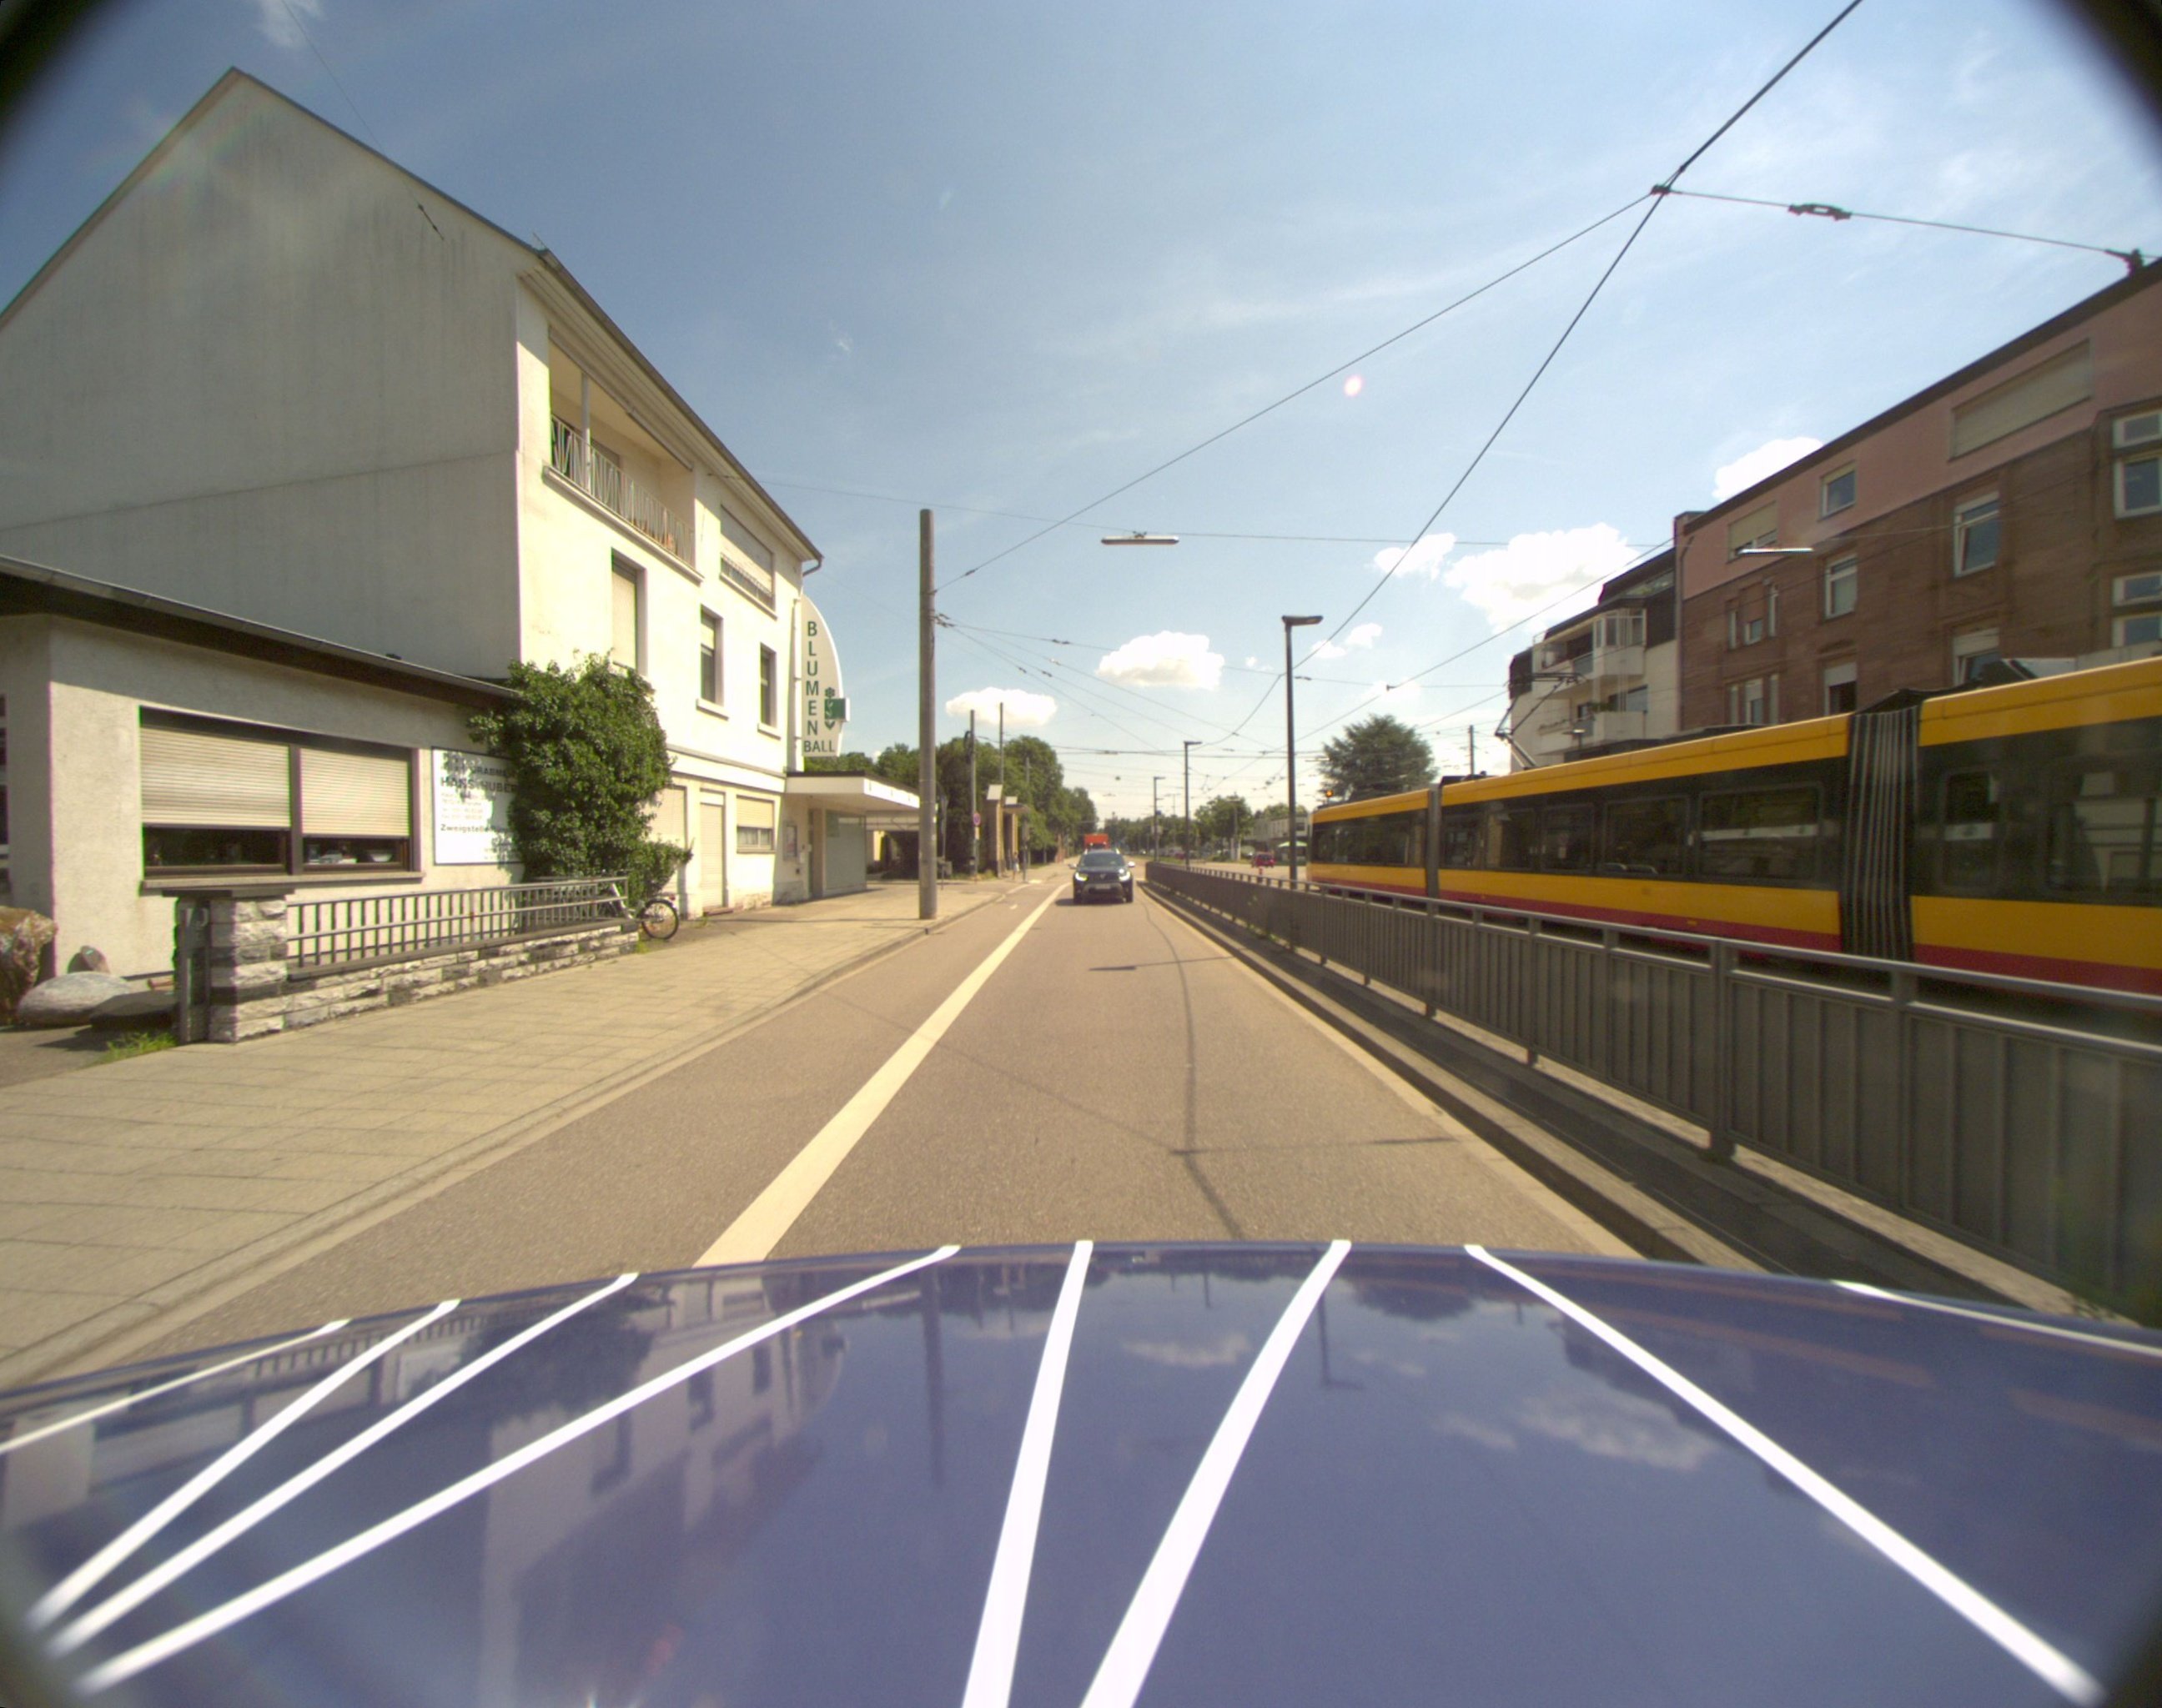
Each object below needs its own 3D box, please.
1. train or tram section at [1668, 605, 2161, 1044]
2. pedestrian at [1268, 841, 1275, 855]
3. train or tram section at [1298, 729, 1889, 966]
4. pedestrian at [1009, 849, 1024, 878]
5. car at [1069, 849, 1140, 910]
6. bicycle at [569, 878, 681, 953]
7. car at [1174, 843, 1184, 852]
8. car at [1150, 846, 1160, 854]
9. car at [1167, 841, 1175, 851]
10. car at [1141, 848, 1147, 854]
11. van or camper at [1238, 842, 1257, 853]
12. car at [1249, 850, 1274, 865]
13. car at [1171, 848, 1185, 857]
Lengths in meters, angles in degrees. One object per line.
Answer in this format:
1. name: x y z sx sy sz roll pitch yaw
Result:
1. train or tram section: 10.312 -0.194 3.169 3.243 3.547 16.347 0 1 1
2. pedestrian: 24.904 -0.742 99.502 0.488 1.765 0.682 -5 3 -18
3. train or tram section: 10.593 -0.253 21.655 3.258 3.547 20.498 0 1 1
4. pedestrian: -3.684 0.546 43.470 0.563 1.656 0.683 1 1 24
5. car: 0.605 0.683 23.027 1.846 1.565 4.486 -3 1 -1
6. bicycle: -7.096 0.941 11.841 1.535 1.080 0.429 2 1 7
7. car: 22.988 -1.526 178.543 1.966 1.953 3.999 0 1 0
8. car: 18.830 -1.054 193.158 1.863 1.865 4.553 0 1 -3
9. car: 22.926 -1.942 193.558 1.744 2.573 3.999 0 1 0
10. car: 19.495 -0.945 234.918 1.744 1.587 3.999 0 1 0
11. van or camper: 48.375 -1.979 220.639 5.157 3.099 2.247 0 1 1
12. car: 17.814 0.295 75.029 1.659 1.436 3.853 0 1 1
13. car: 17.361 -0.272 136.071 1.998 1.441 4.821 0 1 2
